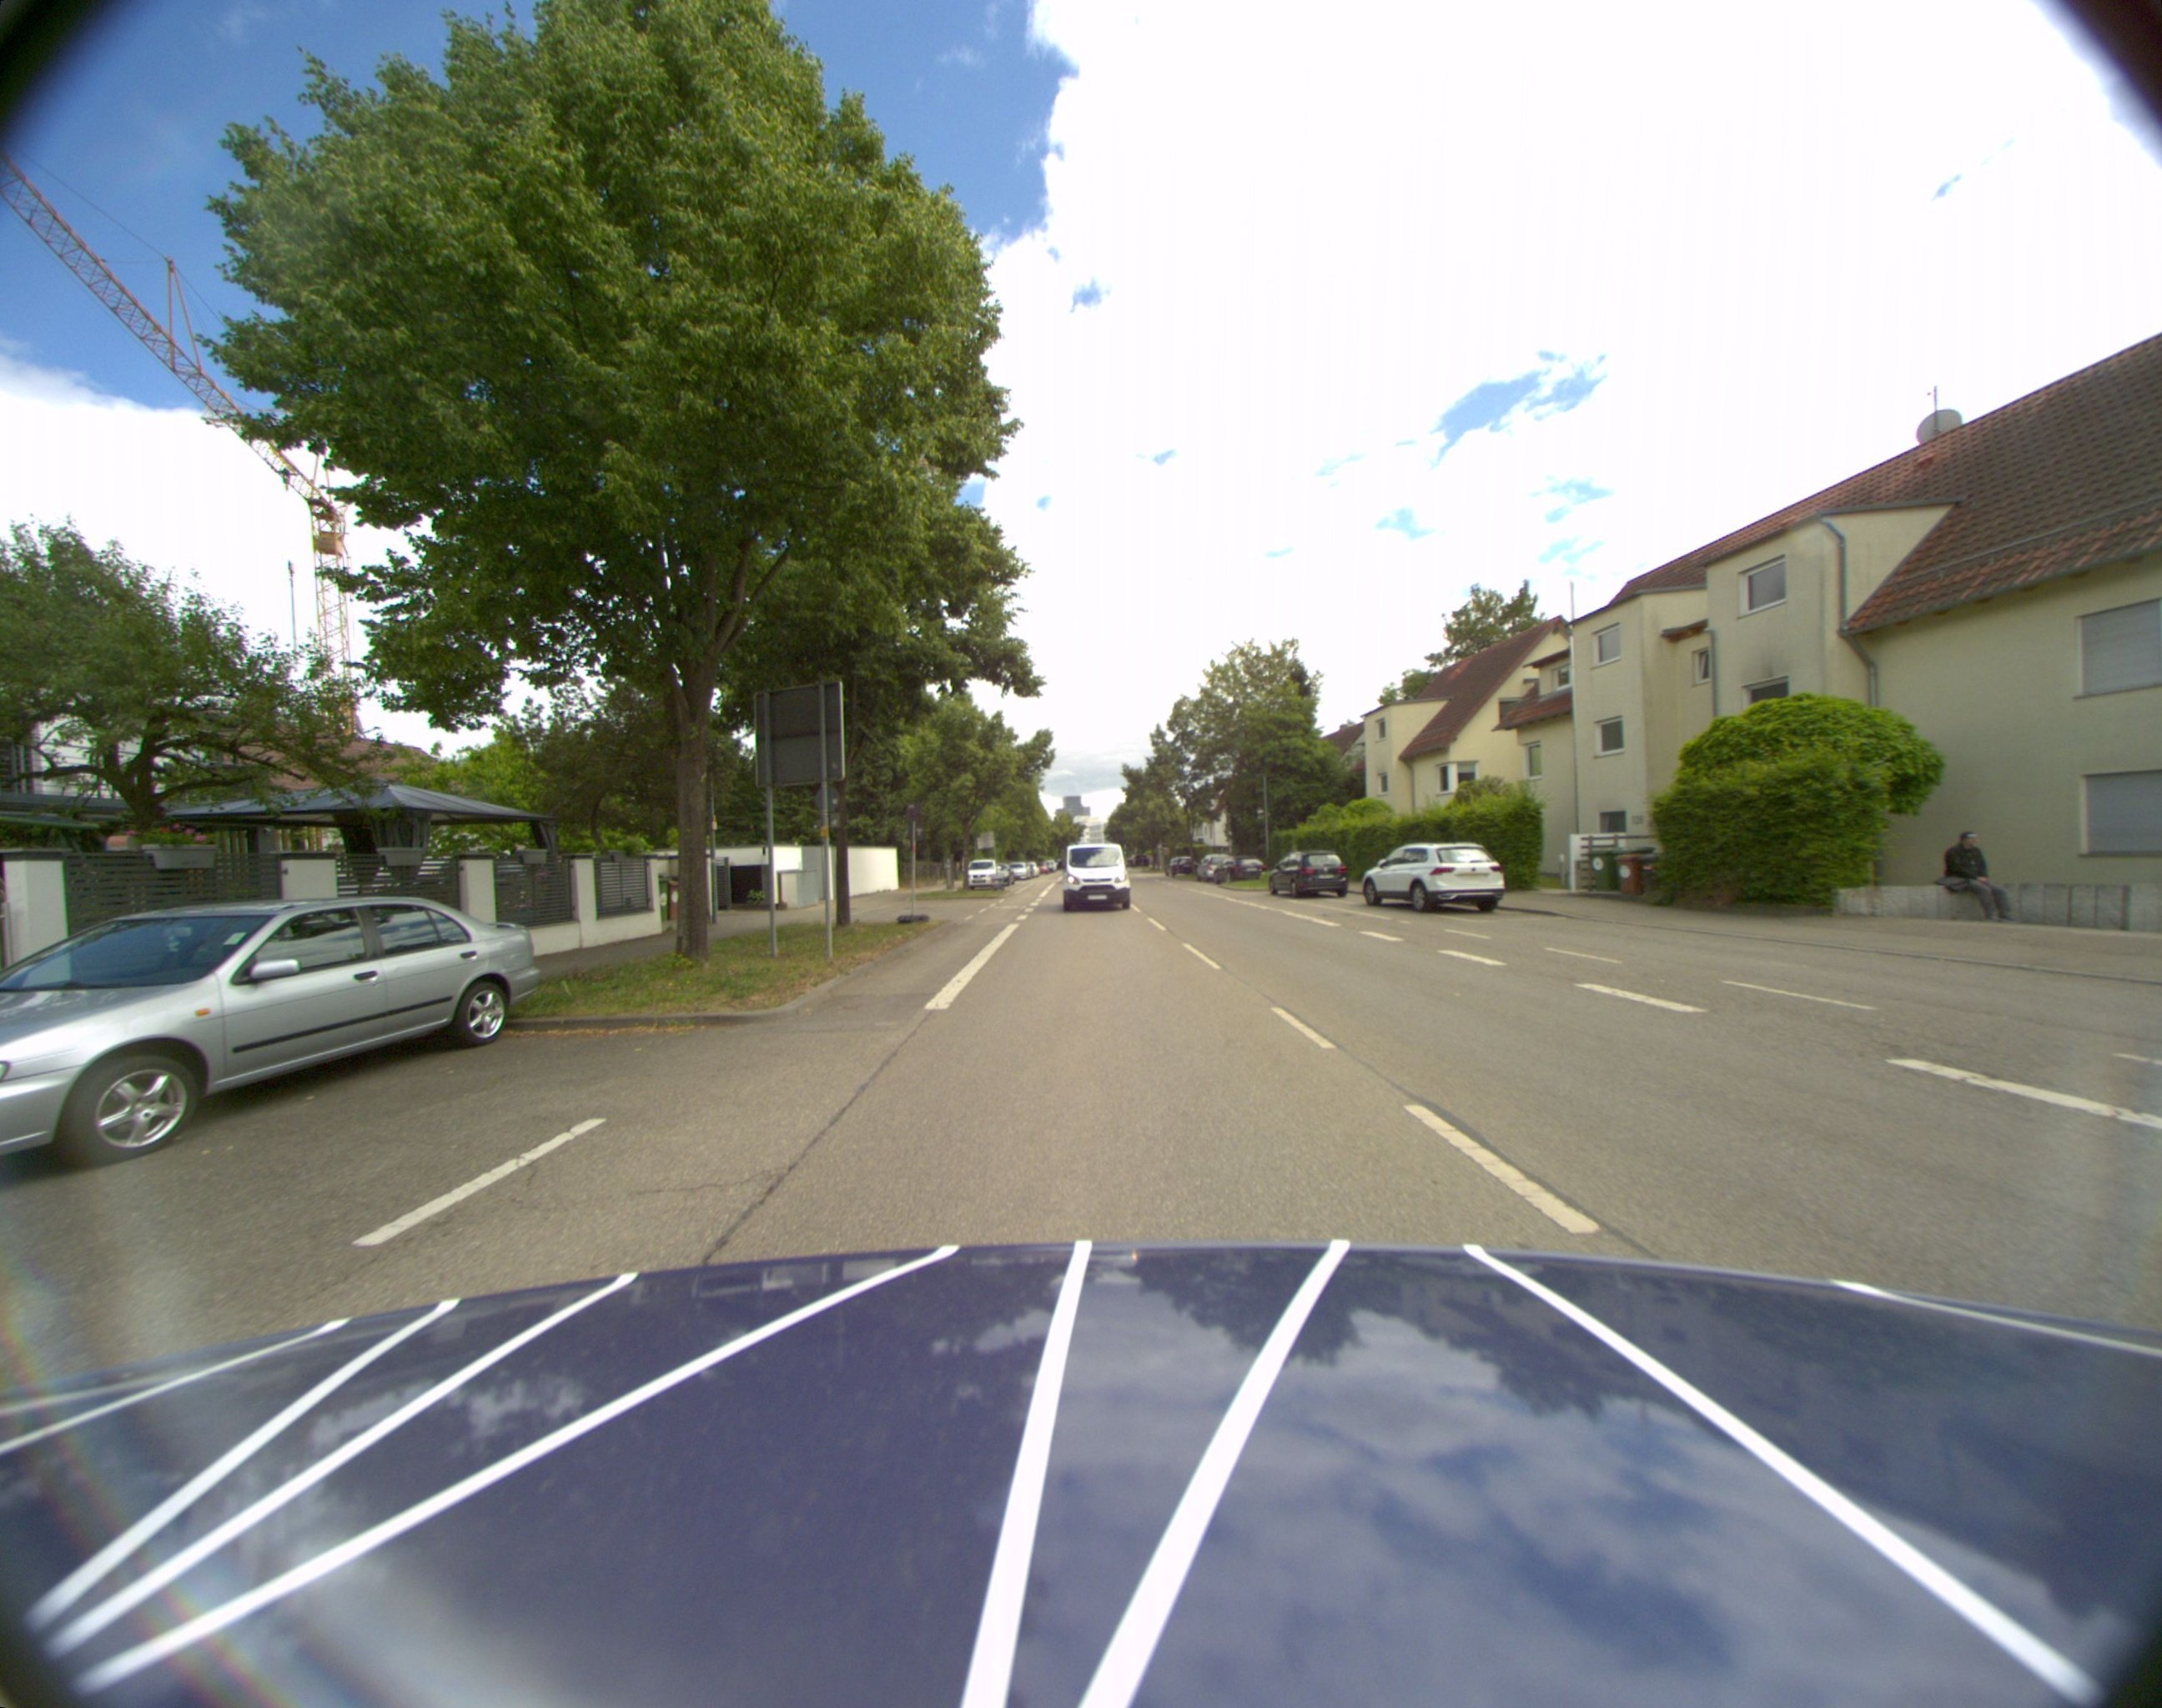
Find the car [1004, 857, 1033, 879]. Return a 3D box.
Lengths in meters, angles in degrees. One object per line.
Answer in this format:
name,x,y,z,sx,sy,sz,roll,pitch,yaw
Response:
car,-5.062,1.110,61.827,1.866,1.601,4.686,-3,0,0

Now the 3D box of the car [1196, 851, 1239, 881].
car,7.941,0.680,44.615,1.722,1.603,3.909,-1,0,-1

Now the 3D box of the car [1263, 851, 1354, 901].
car,7.771,0.701,26.342,1.681,1.543,4.271,-2,0,-2

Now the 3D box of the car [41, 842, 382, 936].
car,-20.431,0.768,18.128,5.200,1.892,2.047,-2,1,-8

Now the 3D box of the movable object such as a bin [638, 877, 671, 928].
movable object such as a bin,-9.670,1.092,17.236,0.437,1.103,0.454,-2,0,1

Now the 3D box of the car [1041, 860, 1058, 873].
car,-3.999,1.594,97.809,1.820,1.506,4.680,-4,0,1

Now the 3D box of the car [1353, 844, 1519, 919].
car,8.770,0.617,19.286,1.826,1.624,4.585,-1,0,-3

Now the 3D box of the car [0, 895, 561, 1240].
car,-6.063,1.169,5.434,1.616,1.369,4.386,-2,1,0

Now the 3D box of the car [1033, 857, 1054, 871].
car,-4.320,1.152,88.144,1.863,1.405,4.444,-4,-1,2

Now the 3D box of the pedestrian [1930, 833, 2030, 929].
pedestrian,15.061,0.439,12.751,0.672,1.551,0.836,-1,0,5

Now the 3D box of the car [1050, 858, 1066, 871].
car,-3.449,1.572,115.934,1.998,1.805,4.827,-3,0,2

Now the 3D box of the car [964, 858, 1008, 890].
car,-5.246,1.070,42.491,1.905,1.633,4.116,-2,0,-1

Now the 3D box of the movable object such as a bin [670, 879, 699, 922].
movable object such as a bin,-9.564,1.120,18.340,0.437,1.016,0.454,-2,0,1

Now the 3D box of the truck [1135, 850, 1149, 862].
truck,9.711,0.301,121.407,1.971,1.857,5.665,0,0,2

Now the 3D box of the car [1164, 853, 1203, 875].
car,7.837,0.765,58.534,2.101,1.637,5.037,-1,0,-2

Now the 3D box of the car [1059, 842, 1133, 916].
car,0.521,0.692,24.100,1.998,2.002,5.189,-3,0,2

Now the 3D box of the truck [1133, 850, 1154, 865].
truck,8.854,0.467,108.122,2.429,2.031,5.995,-2,0,1

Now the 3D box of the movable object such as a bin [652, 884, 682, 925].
movable object such as a bin,-9.675,1.183,17.769,0.437,0.915,0.395,-2,0,1

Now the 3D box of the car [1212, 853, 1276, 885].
car,8.244,0.736,38.895,1.999,1.476,4.889,-1,0,-3

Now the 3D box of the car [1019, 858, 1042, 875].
car,-4.847,1.152,73.218,1.772,1.501,4.031,-2,1,2

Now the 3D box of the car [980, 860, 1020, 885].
car,-5.126,1.161,48.530,1.868,1.408,4.603,-2,0,2

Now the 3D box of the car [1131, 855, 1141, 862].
car,10.411,0.827,144.451,1.750,1.400,4.927,-1,0,1
